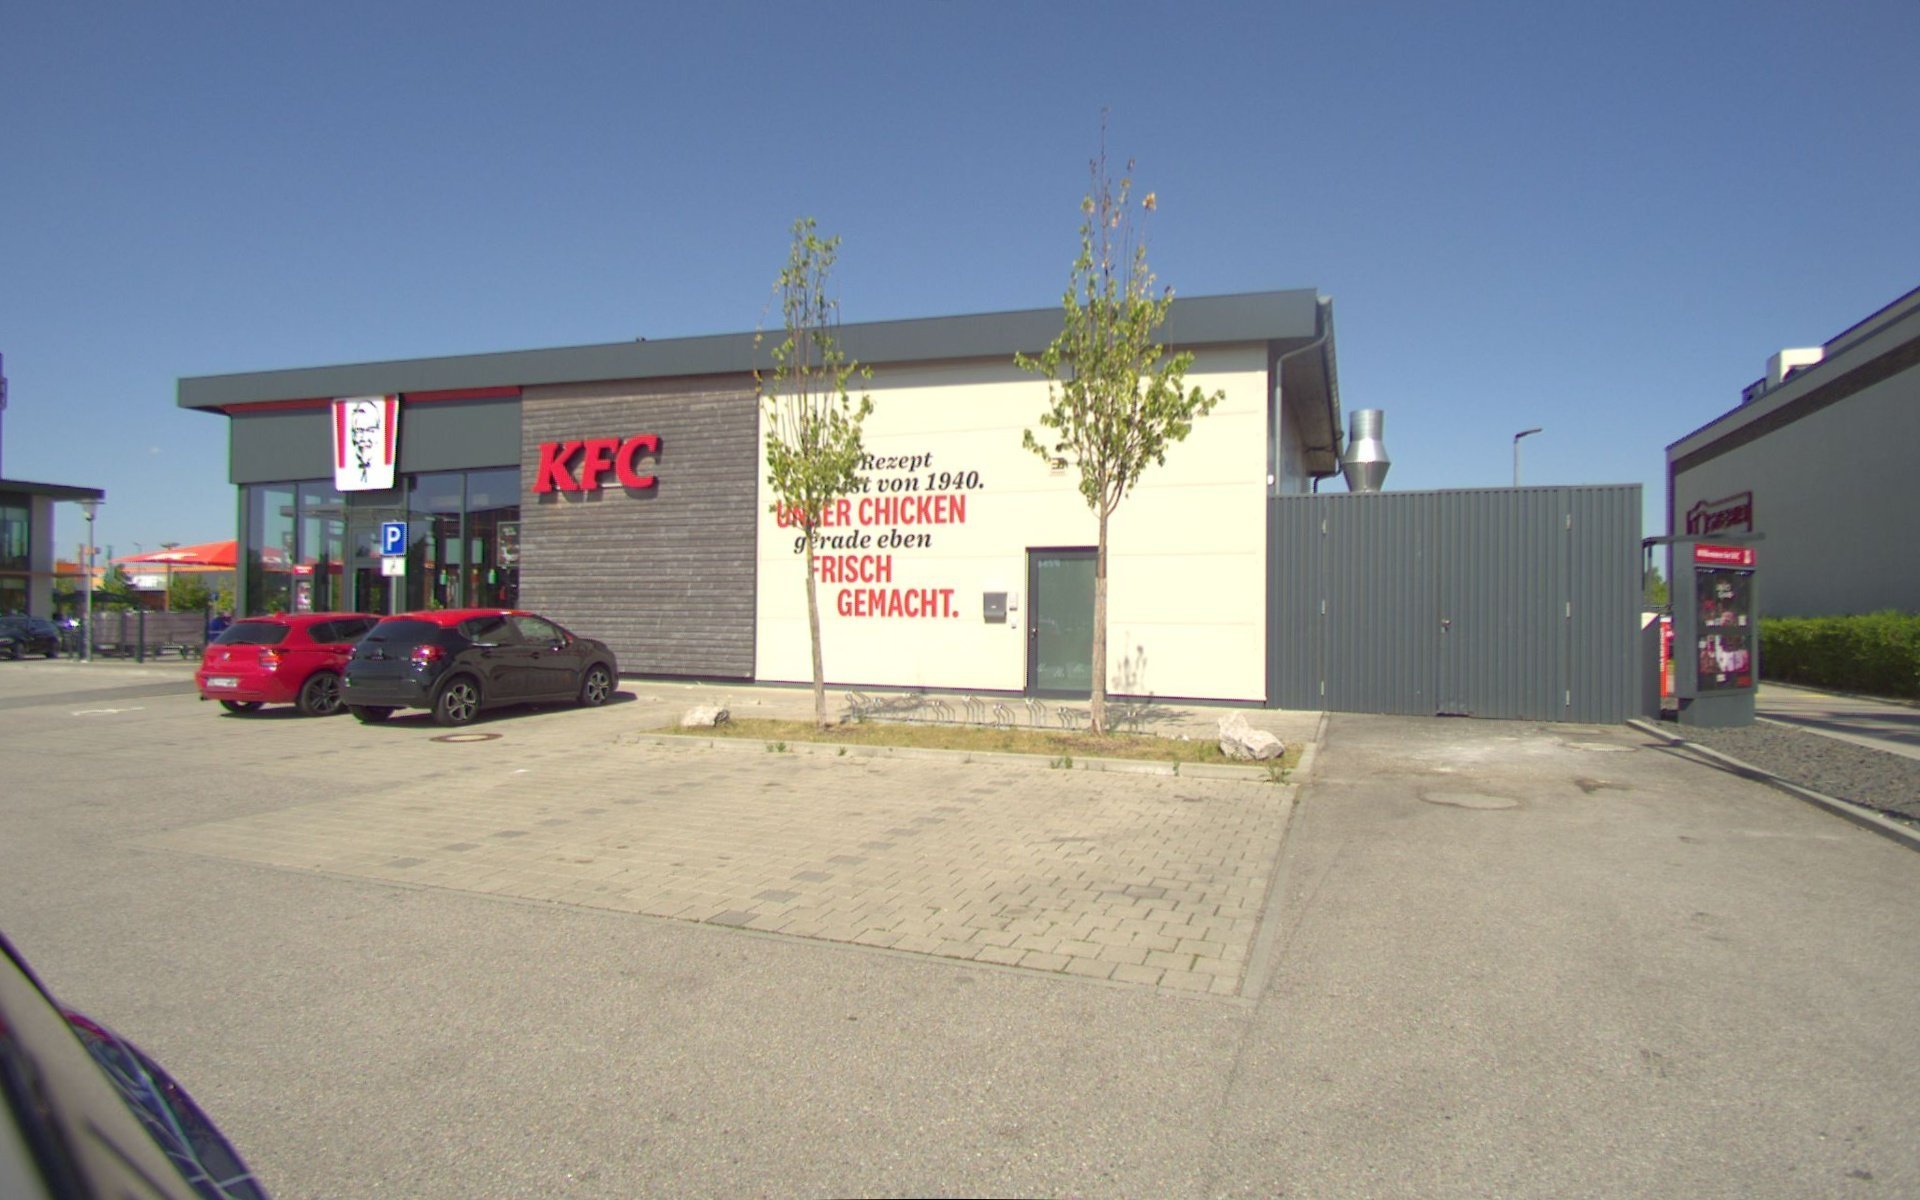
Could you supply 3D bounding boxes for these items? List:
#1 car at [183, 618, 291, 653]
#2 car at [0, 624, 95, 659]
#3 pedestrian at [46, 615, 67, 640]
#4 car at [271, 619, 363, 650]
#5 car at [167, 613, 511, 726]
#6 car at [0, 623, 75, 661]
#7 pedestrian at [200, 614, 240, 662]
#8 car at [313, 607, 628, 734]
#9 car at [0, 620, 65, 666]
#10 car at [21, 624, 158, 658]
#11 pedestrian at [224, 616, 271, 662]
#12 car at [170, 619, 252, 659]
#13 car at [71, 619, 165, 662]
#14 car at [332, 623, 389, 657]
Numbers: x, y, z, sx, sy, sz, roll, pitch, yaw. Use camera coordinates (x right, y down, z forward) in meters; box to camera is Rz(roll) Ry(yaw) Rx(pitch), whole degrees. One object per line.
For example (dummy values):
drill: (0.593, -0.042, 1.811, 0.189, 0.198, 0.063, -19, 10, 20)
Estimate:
car: (-35.813, 1.744, 50.261, 4.043, 1.687, 1.819, 0, -1, -22)
car: (-41.898, 1.857, 45.218, 4.564, 1.498, 1.902, 0, -1, -22)
pedestrian: (-57.488, 1.769, 64.405, 0.691, 1.571, 0.723, 0, -2, -7)
car: (-34.123, 1.824, 53.809, 3.930, 1.564, 1.760, 0, -2, -25)
car: (-9.130, 0.930, 15.370, 1.727, 1.423, 4.373, -1, -1, 19)
car: (-38.605, 1.675, 40.673, 4.206, 1.498, 1.819, 0, -1, -22)
pedestrian: (-20.122, 1.026, 27.517, 0.606, 1.283, 0.623, -1, -2, 6)
car: (-6.635, 0.864, 14.195, 1.728, 1.518, 3.881, -1, -1, 21)
car: (-32.624, 1.448, 34.482, 1.941, 1.498, 4.799, 0, -2, -26)
car: (-41.396, 1.935, 48.264, 4.564, 1.498, 1.902, 0, -1, -22)
pedestrian: (-20.007, 1.088, 28.427, 0.677, 1.283, 0.840, -1, -2, 5)
car: (-29.915, 1.548, 40.537, 1.804, 1.471, 4.599, 0, -2, -26)
car: (-31.204, 1.484, 37.652, 1.805, 1.471, 4.384, 0, -2, -28)
car: (-27.848, 1.853, 47.155, 1.941, 1.471, 4.221, 0, -2, -26)
